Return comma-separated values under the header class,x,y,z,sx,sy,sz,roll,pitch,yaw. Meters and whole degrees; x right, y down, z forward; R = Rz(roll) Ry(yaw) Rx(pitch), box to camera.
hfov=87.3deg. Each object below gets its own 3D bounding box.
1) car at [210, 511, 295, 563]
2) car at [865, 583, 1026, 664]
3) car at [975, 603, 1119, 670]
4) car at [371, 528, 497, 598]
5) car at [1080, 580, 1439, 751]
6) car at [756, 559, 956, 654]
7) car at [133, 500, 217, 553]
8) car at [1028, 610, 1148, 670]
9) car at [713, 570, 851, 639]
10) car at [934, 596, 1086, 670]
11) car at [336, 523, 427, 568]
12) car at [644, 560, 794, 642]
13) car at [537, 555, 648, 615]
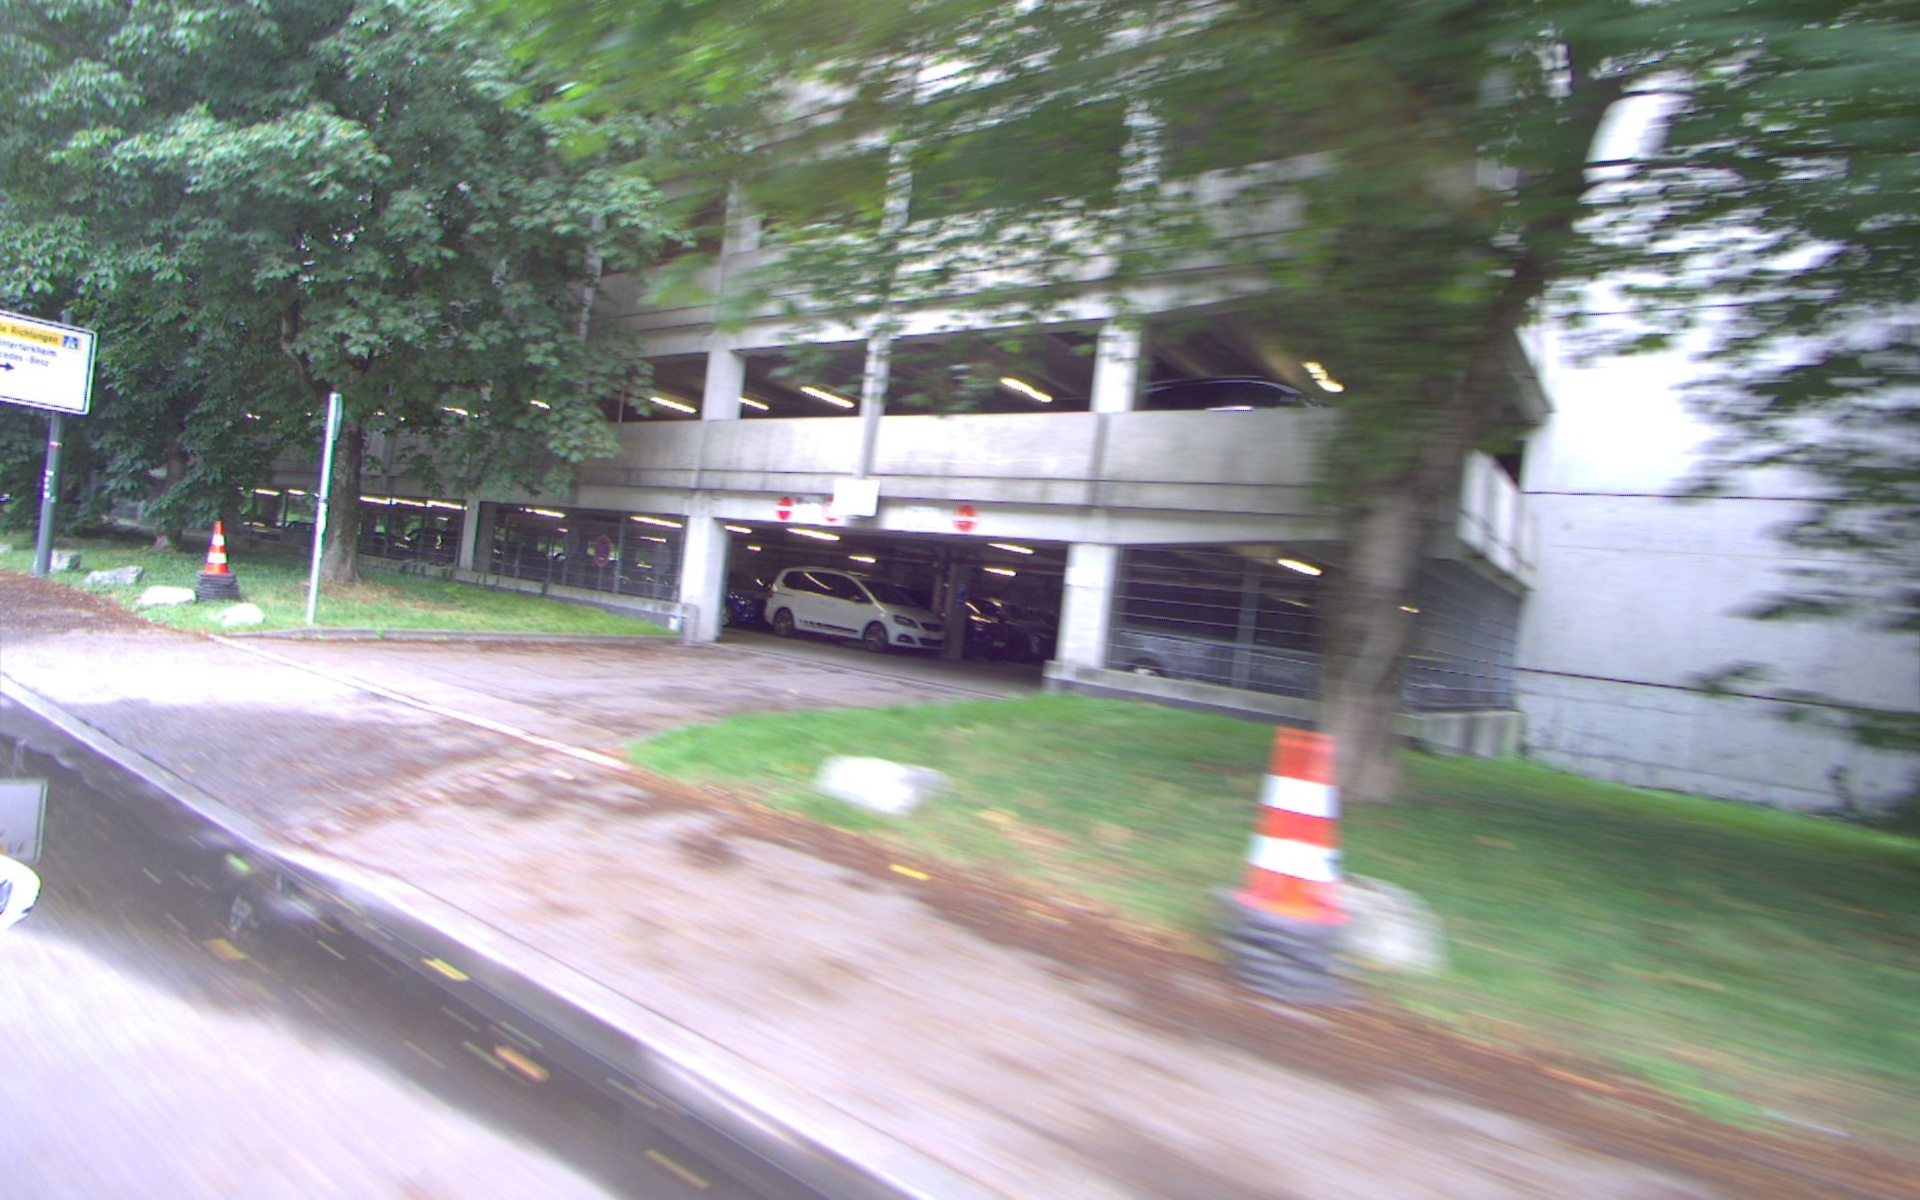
class,x,y,z,sx,sy,sz,roll,pitch,yaw
car,-28.413,-2.540,40.375,3.712,1.728,1.581,5,-2,36
car,-0.403,0.582,25.448,3.634,1.605,1.718,5,-2,35
car,2.481,1.033,28.986,3.644,1.484,1.718,5,-2,35
car,-18.725,-1.331,35.750,4.603,2.037,1.995,5,-2,36
car,4.400,0.904,15.127,4.662,1.856,1.920,6,-1,36
car,-2.475,0.115,23.240,4.597,1.728,1.586,5,-2,36
car,-30.268,-2.837,38.764,3.663,1.728,1.481,5,-2,36
car,3.980,1.230,31.446,3.238,1.484,1.571,5,-2,35
car,-5.155,0.115,29.012,3.644,1.564,1.718,5,-2,35
car,1.335,0.874,27.253,3.644,1.564,1.718,5,-2,35
car,-25.738,-2.444,44.731,3.939,1.570,1.994,5,-2,36
car,-6.294,0.009,26.138,3.799,1.728,1.586,5,-2,36
car,-12.812,-0.526,35.041,3.644,1.700,1.718,5,-2,35
